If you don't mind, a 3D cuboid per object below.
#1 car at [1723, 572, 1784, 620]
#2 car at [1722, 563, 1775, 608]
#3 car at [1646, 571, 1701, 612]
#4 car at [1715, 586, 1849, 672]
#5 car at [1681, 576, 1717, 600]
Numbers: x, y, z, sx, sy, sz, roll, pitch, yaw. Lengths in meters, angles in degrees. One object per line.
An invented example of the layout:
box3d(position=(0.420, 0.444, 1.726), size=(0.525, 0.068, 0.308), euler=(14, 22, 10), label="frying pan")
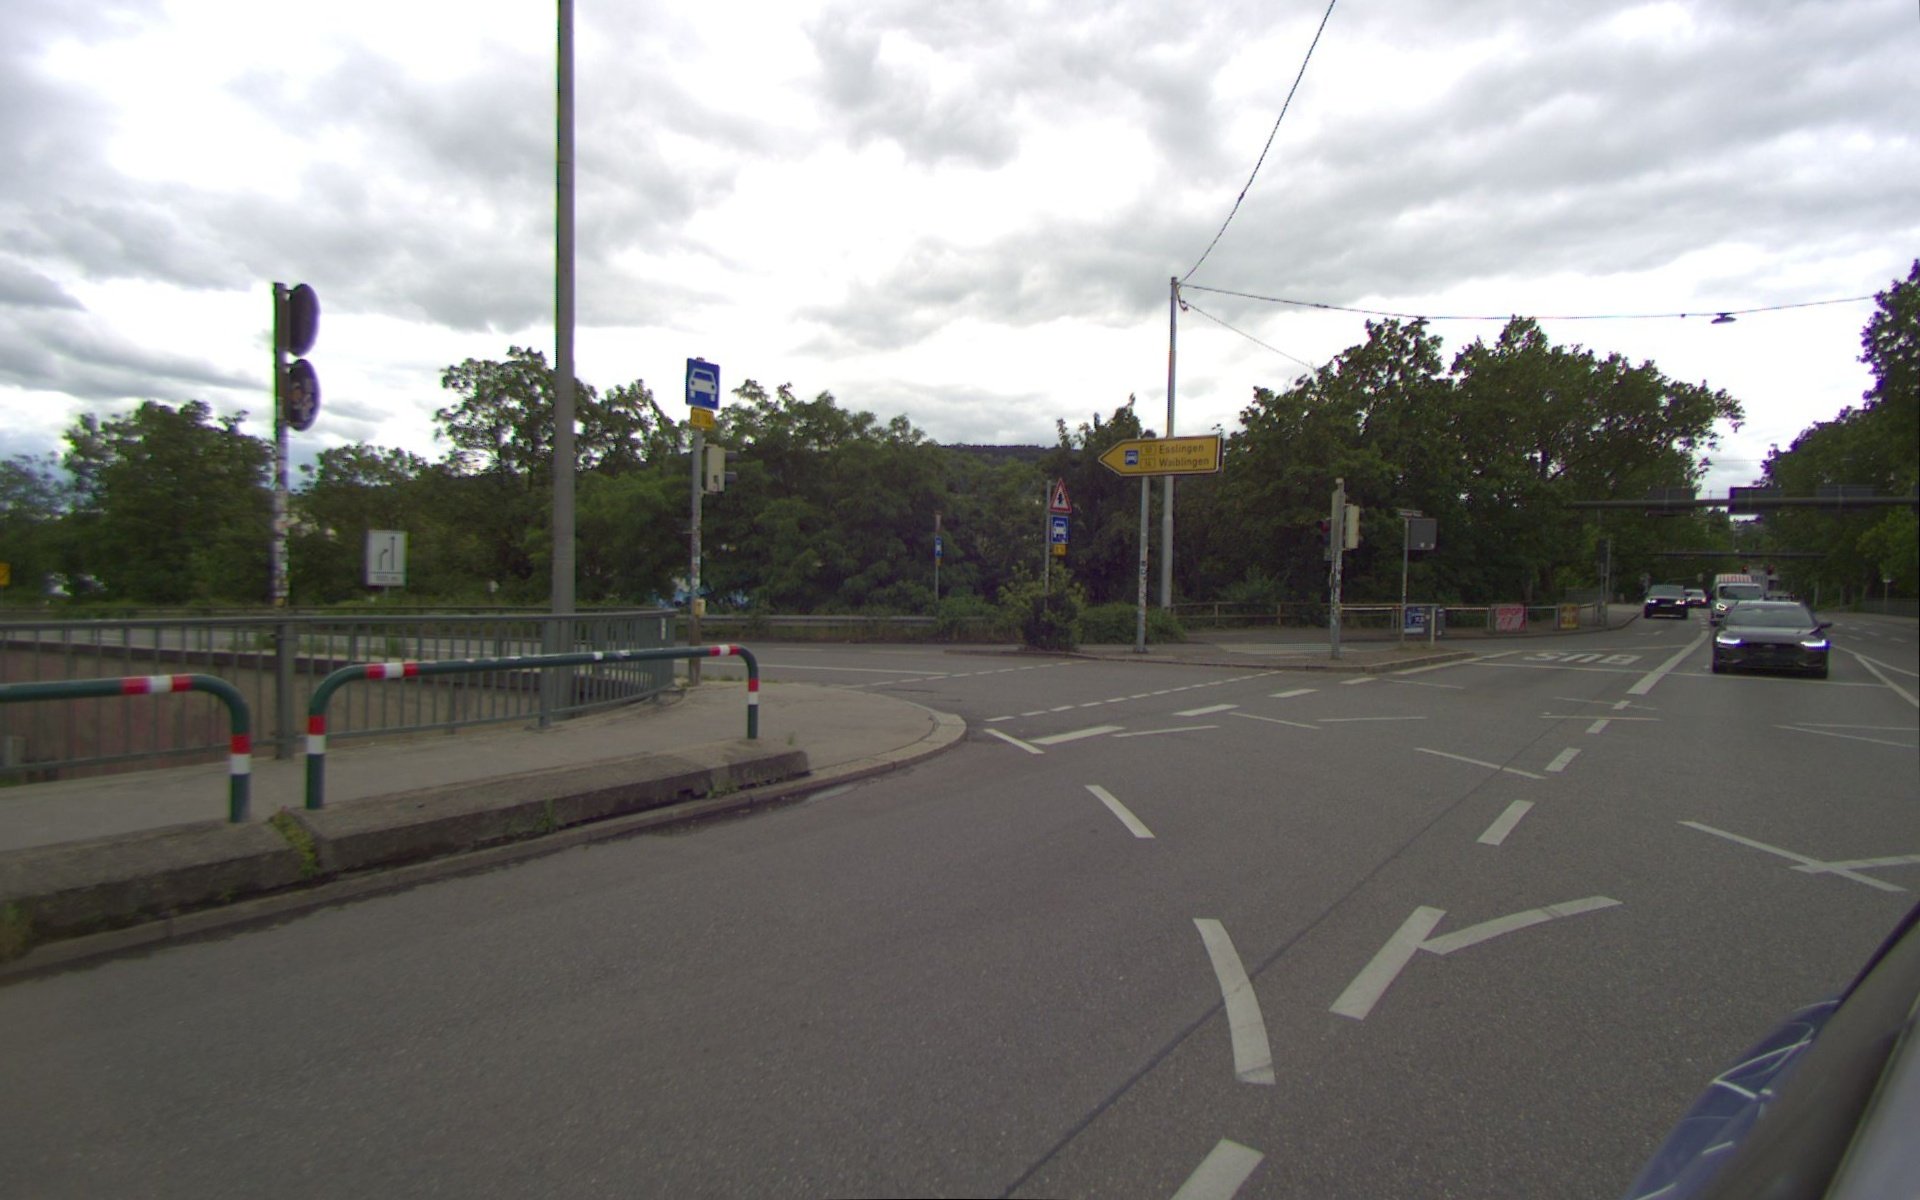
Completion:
box3d(position=(36.441, -0.202, 46.558), size=(1.923, 2.023, 4.395), euler=(4, 2, 36), label="car")
box3d(position=(48.989, -0.941, 62.968), size=(2.320, 2.554, 4.884), euler=(5, 3, 36), label="car")
box3d(position=(39.244, -0.503, 55.635), size=(2.320, 1.938, 4.886), euler=(4, 5, 36), label="car")
box3d(position=(16.818, 0.495, 20.768), size=(1.925, 1.437, 4.390), euler=(2, 3, 39), label="car")
box3d(position=(67.905, -1.132, 92.930), size=(2.322, 1.939, 5.325), euler=(4, 4, 39), label="car")
